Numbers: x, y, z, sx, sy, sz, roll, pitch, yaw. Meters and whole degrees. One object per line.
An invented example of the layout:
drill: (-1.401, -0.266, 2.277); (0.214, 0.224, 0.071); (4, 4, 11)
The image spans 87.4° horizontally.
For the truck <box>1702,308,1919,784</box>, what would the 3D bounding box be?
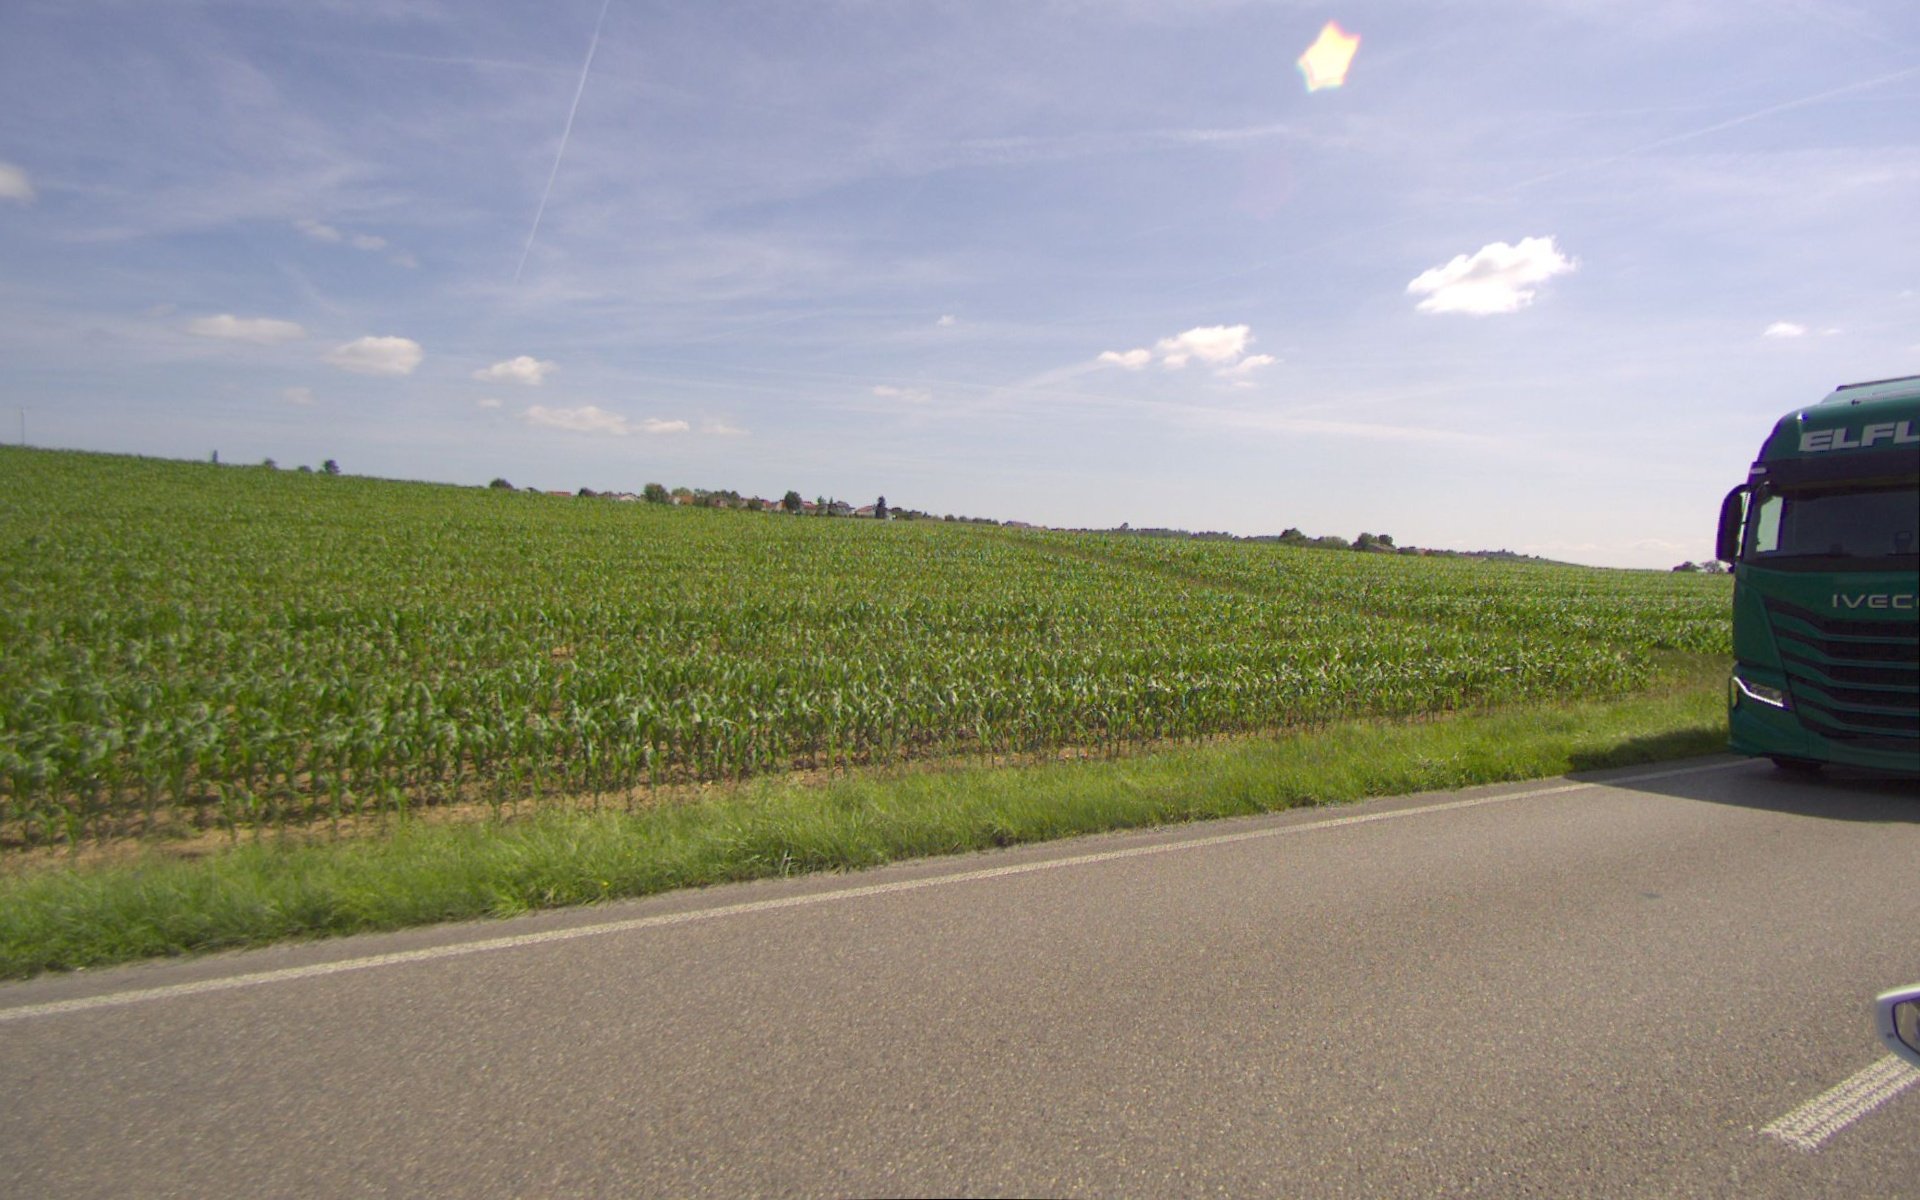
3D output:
truck: (15.109, -0.334, 13.367); (16.845, 4.052, 2.754); (1, 0, -33)
